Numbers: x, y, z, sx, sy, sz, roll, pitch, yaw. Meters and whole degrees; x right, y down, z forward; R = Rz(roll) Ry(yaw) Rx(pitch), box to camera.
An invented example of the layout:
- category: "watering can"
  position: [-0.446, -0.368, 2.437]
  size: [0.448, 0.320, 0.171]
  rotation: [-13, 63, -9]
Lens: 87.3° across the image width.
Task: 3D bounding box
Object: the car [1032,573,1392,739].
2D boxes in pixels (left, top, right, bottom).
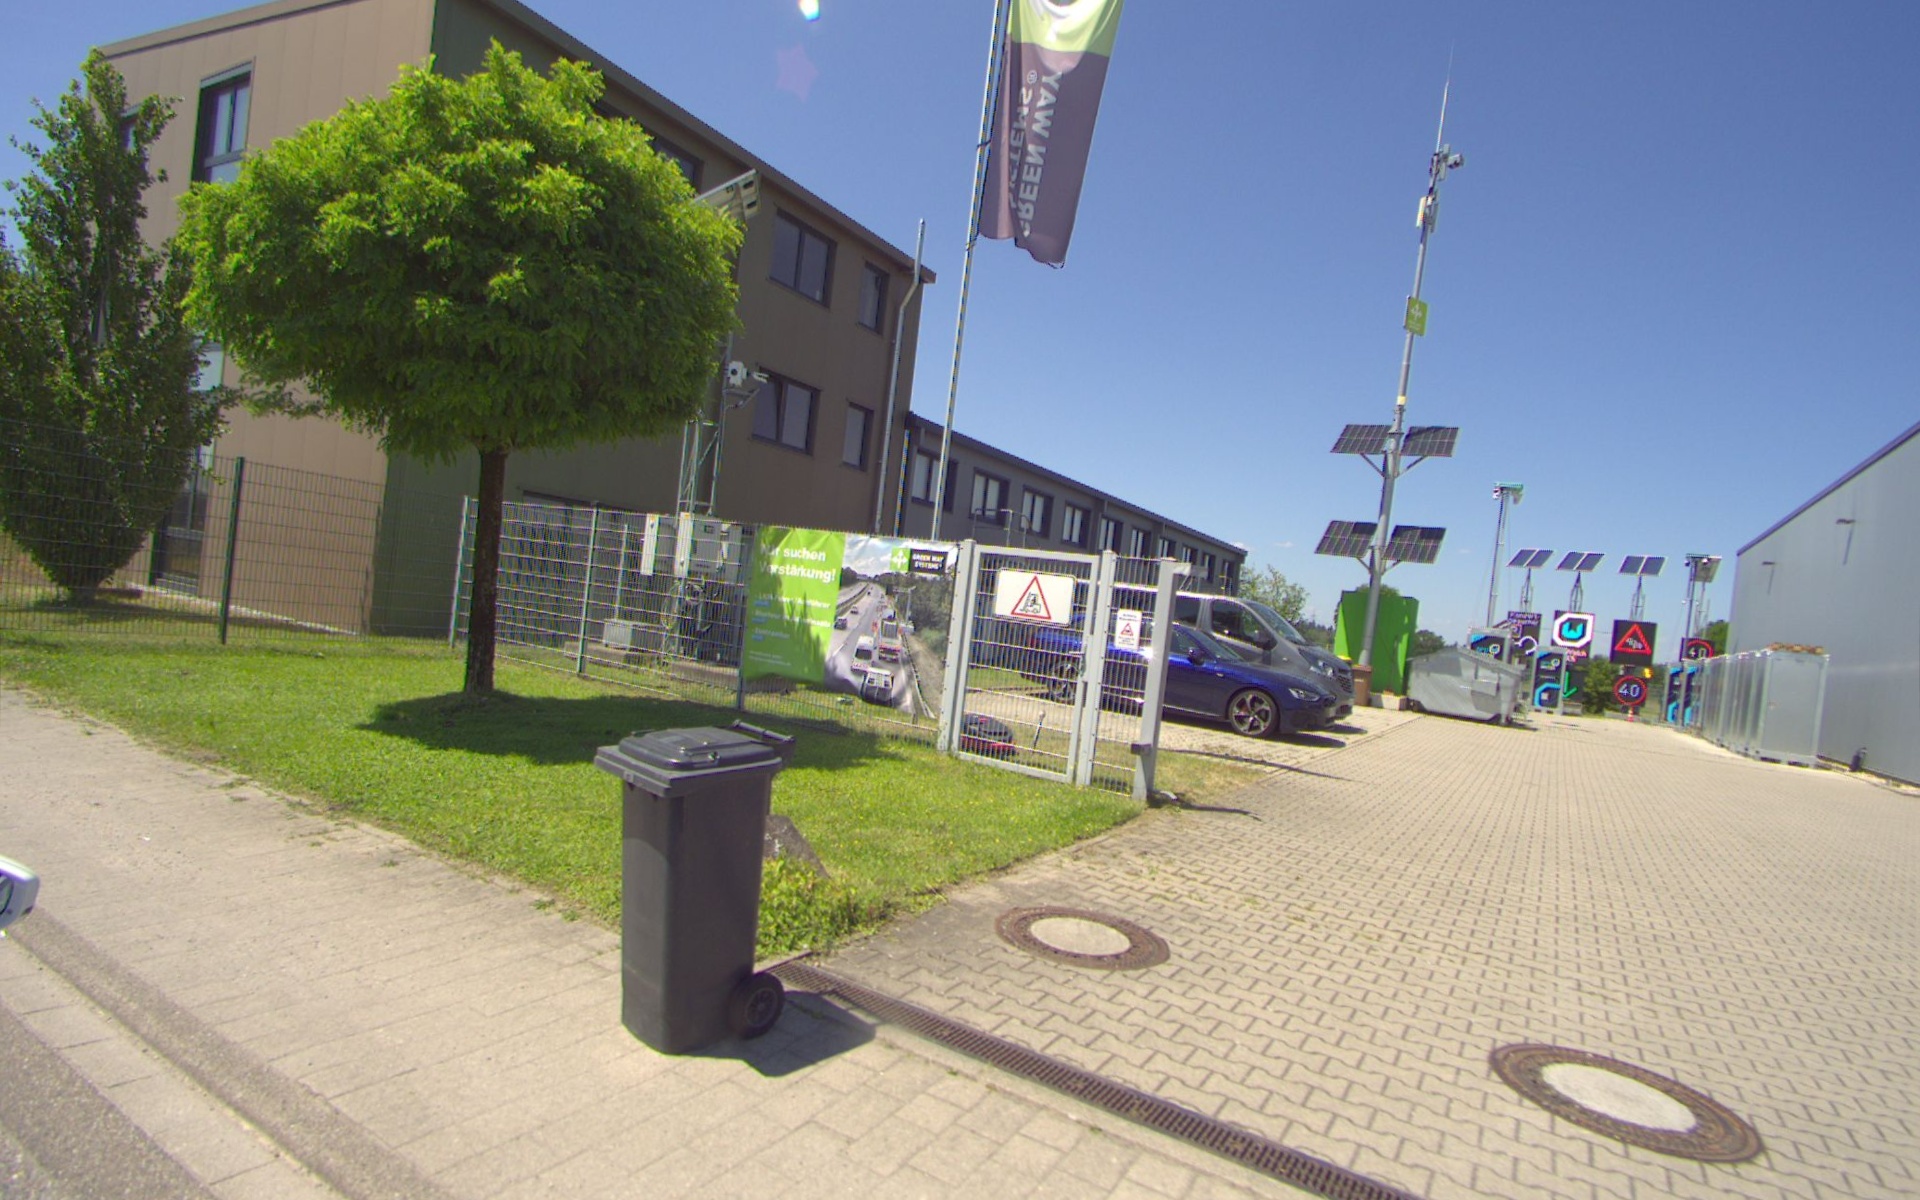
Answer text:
- category: "car"
  position: [4.271, 0.881, 17.494]
  size: [5.561, 2.021, 1.996]
  rotation: [7, 0, 32]

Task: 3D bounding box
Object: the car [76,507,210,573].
- category: "car"
  position: [-23.160, -1.708, 28.487]
  size: [3.933, 1.462, 1.657]
  rotation: [6, 0, 31]

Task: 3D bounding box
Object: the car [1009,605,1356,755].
- category: "car"
  position: [3.264, 1.112, 15.019]
  size: [4.535, 1.456, 1.996]
  rotation: [7, 0, 32]

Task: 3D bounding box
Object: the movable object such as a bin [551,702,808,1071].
- category: "movable object such as a bin"
  position: [-0.885, 0.840, 3.178]
  size: [0.514, 0.941, 0.550]
  rotation: [7, 4, 41]
